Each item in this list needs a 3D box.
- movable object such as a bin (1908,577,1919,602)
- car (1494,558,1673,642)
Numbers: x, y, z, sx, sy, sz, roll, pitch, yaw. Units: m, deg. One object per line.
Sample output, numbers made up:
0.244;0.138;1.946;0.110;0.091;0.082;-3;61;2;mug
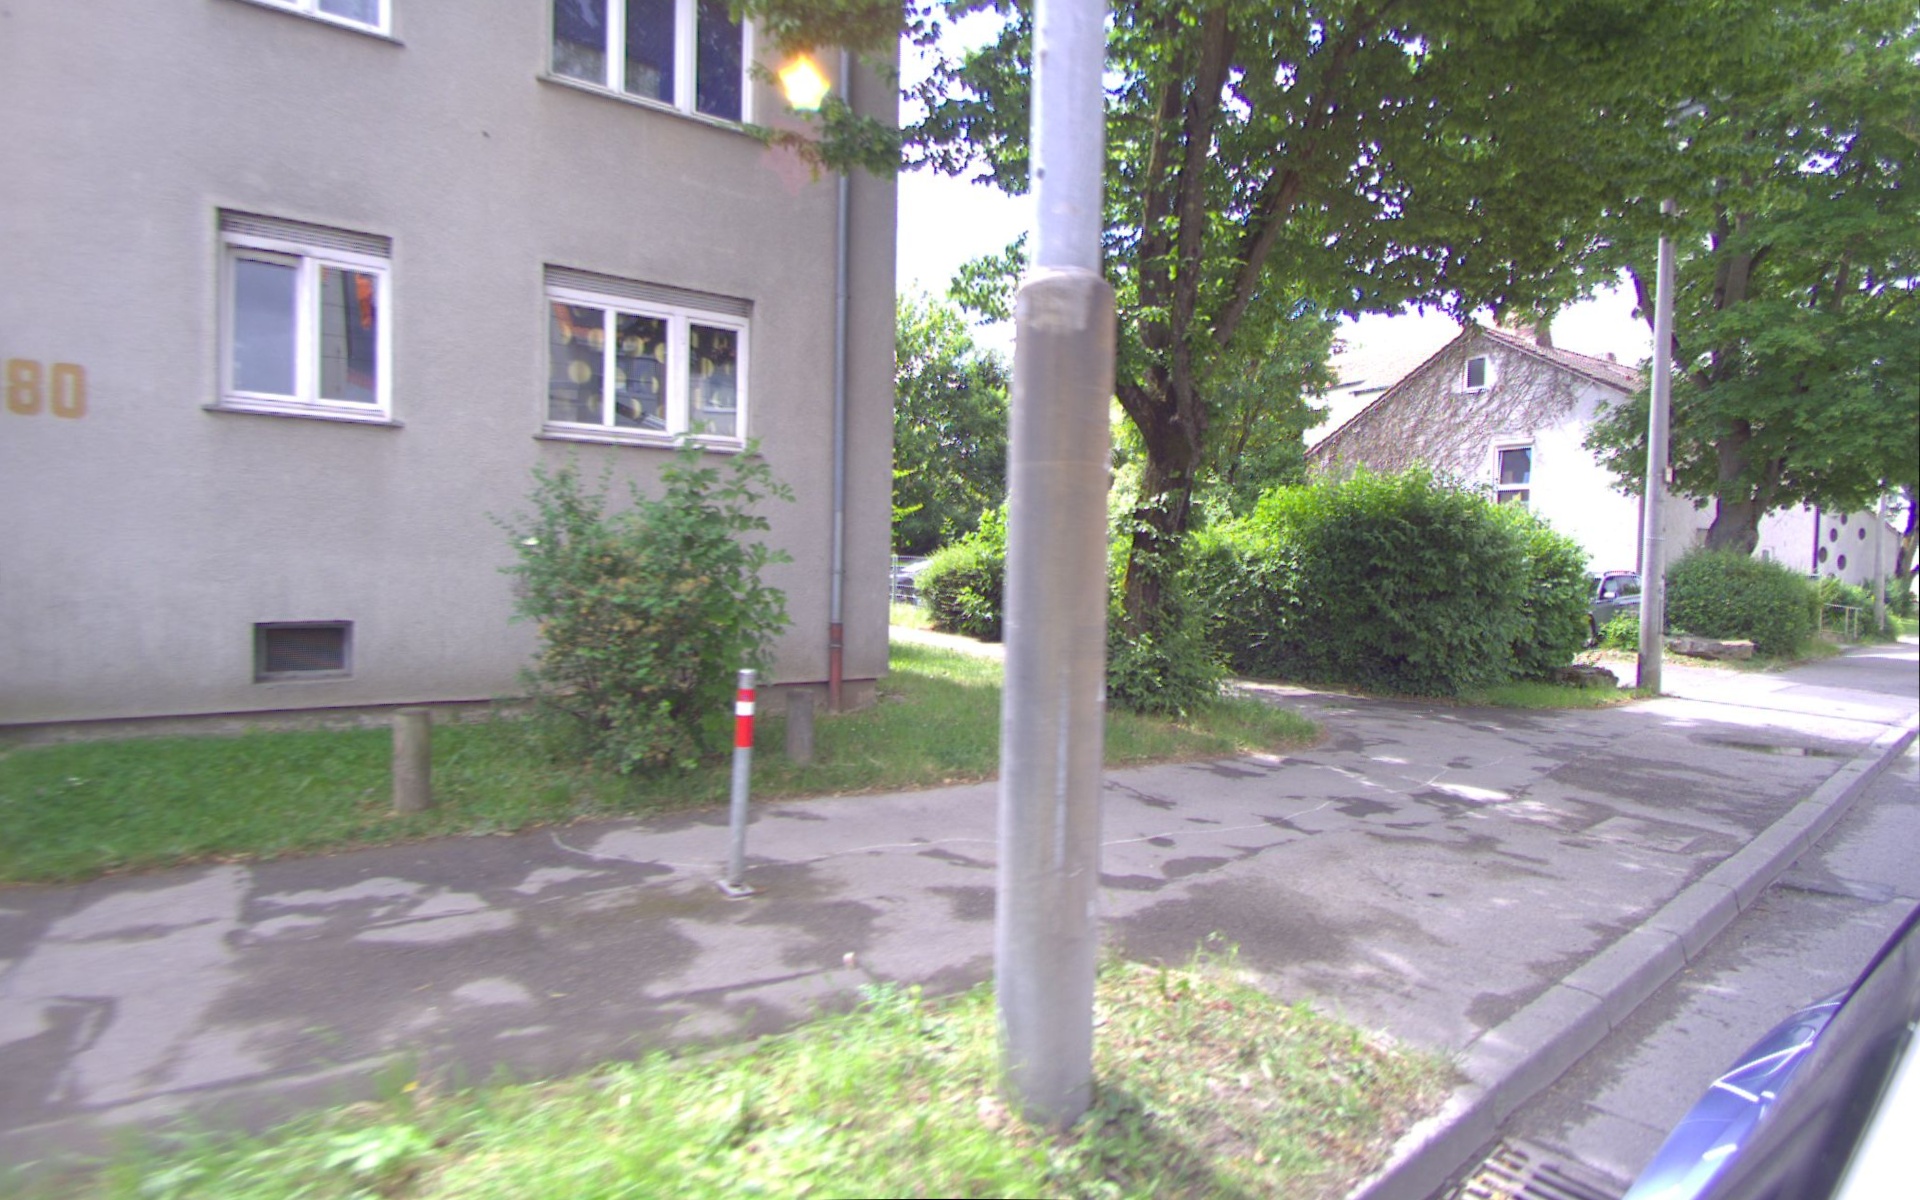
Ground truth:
80.518;-0.821;83.349;1.960;2.038;2.972;2;2;-5;movable object such as a bin
13.891;-0.027;22.493;3.922;1.669;1.819;0;3;-33;car
